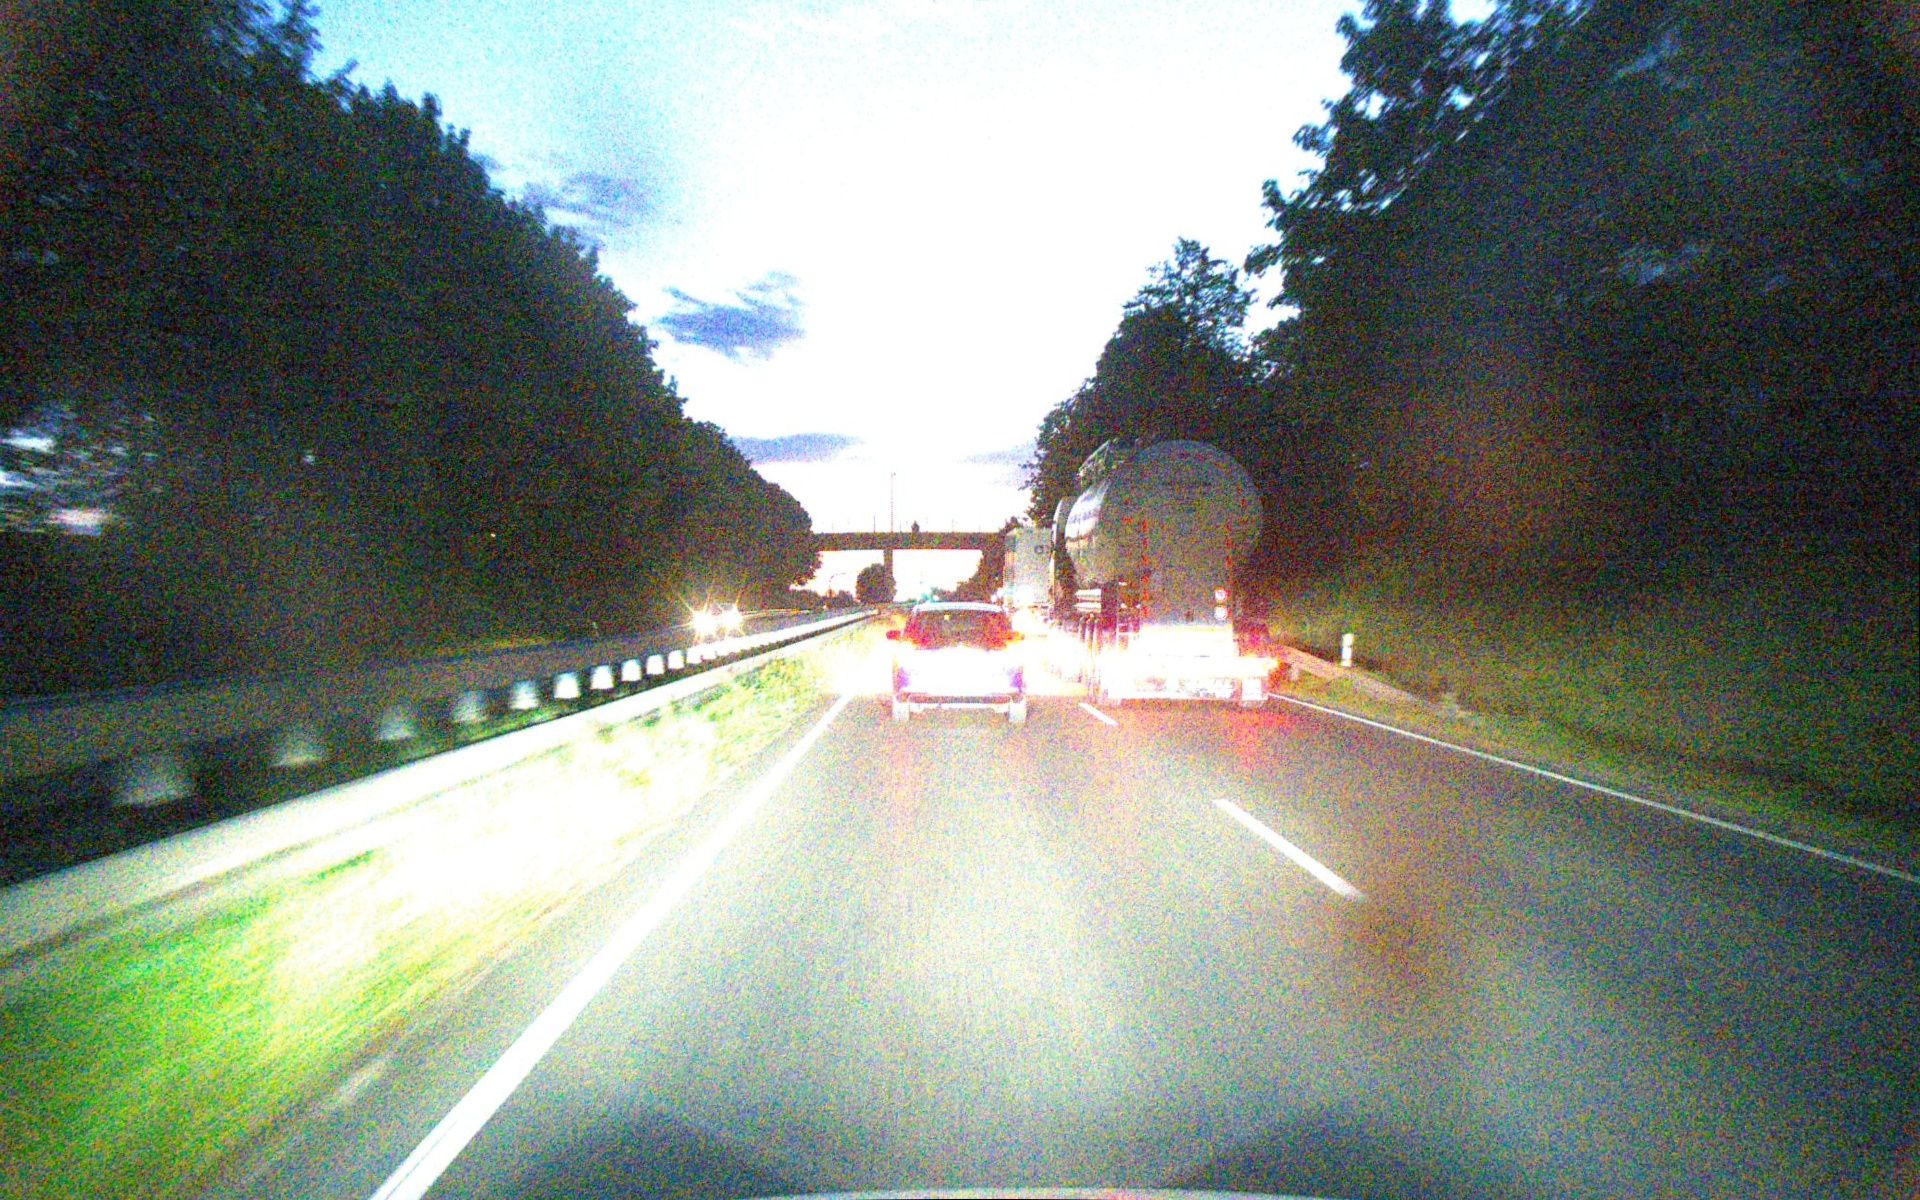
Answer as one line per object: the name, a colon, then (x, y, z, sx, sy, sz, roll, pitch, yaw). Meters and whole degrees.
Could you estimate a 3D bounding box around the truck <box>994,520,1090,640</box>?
truck: (3.025, -0.677, 64.497, 2.824, 4.178, 12.680, 1, 0, -1)

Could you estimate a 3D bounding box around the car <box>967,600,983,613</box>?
car: (1.624, 0.710, 179.936, 1.661, 1.478, 3.913, 1, 0, -1)

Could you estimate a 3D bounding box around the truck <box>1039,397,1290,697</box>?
truck: (3.187, -0.701, 29.780, 2.633, 4.178, 13.137, 1, 0, -1)

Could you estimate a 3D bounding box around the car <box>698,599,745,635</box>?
car: (-10.693, 0.759, 74.240, 1.584, 1.533, 3.868, 1, 0, -1)

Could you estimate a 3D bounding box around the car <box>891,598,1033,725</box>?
car: (-0.009, 0.739, 21.457, 1.661, 1.478, 3.913, 1, 0, -1)
